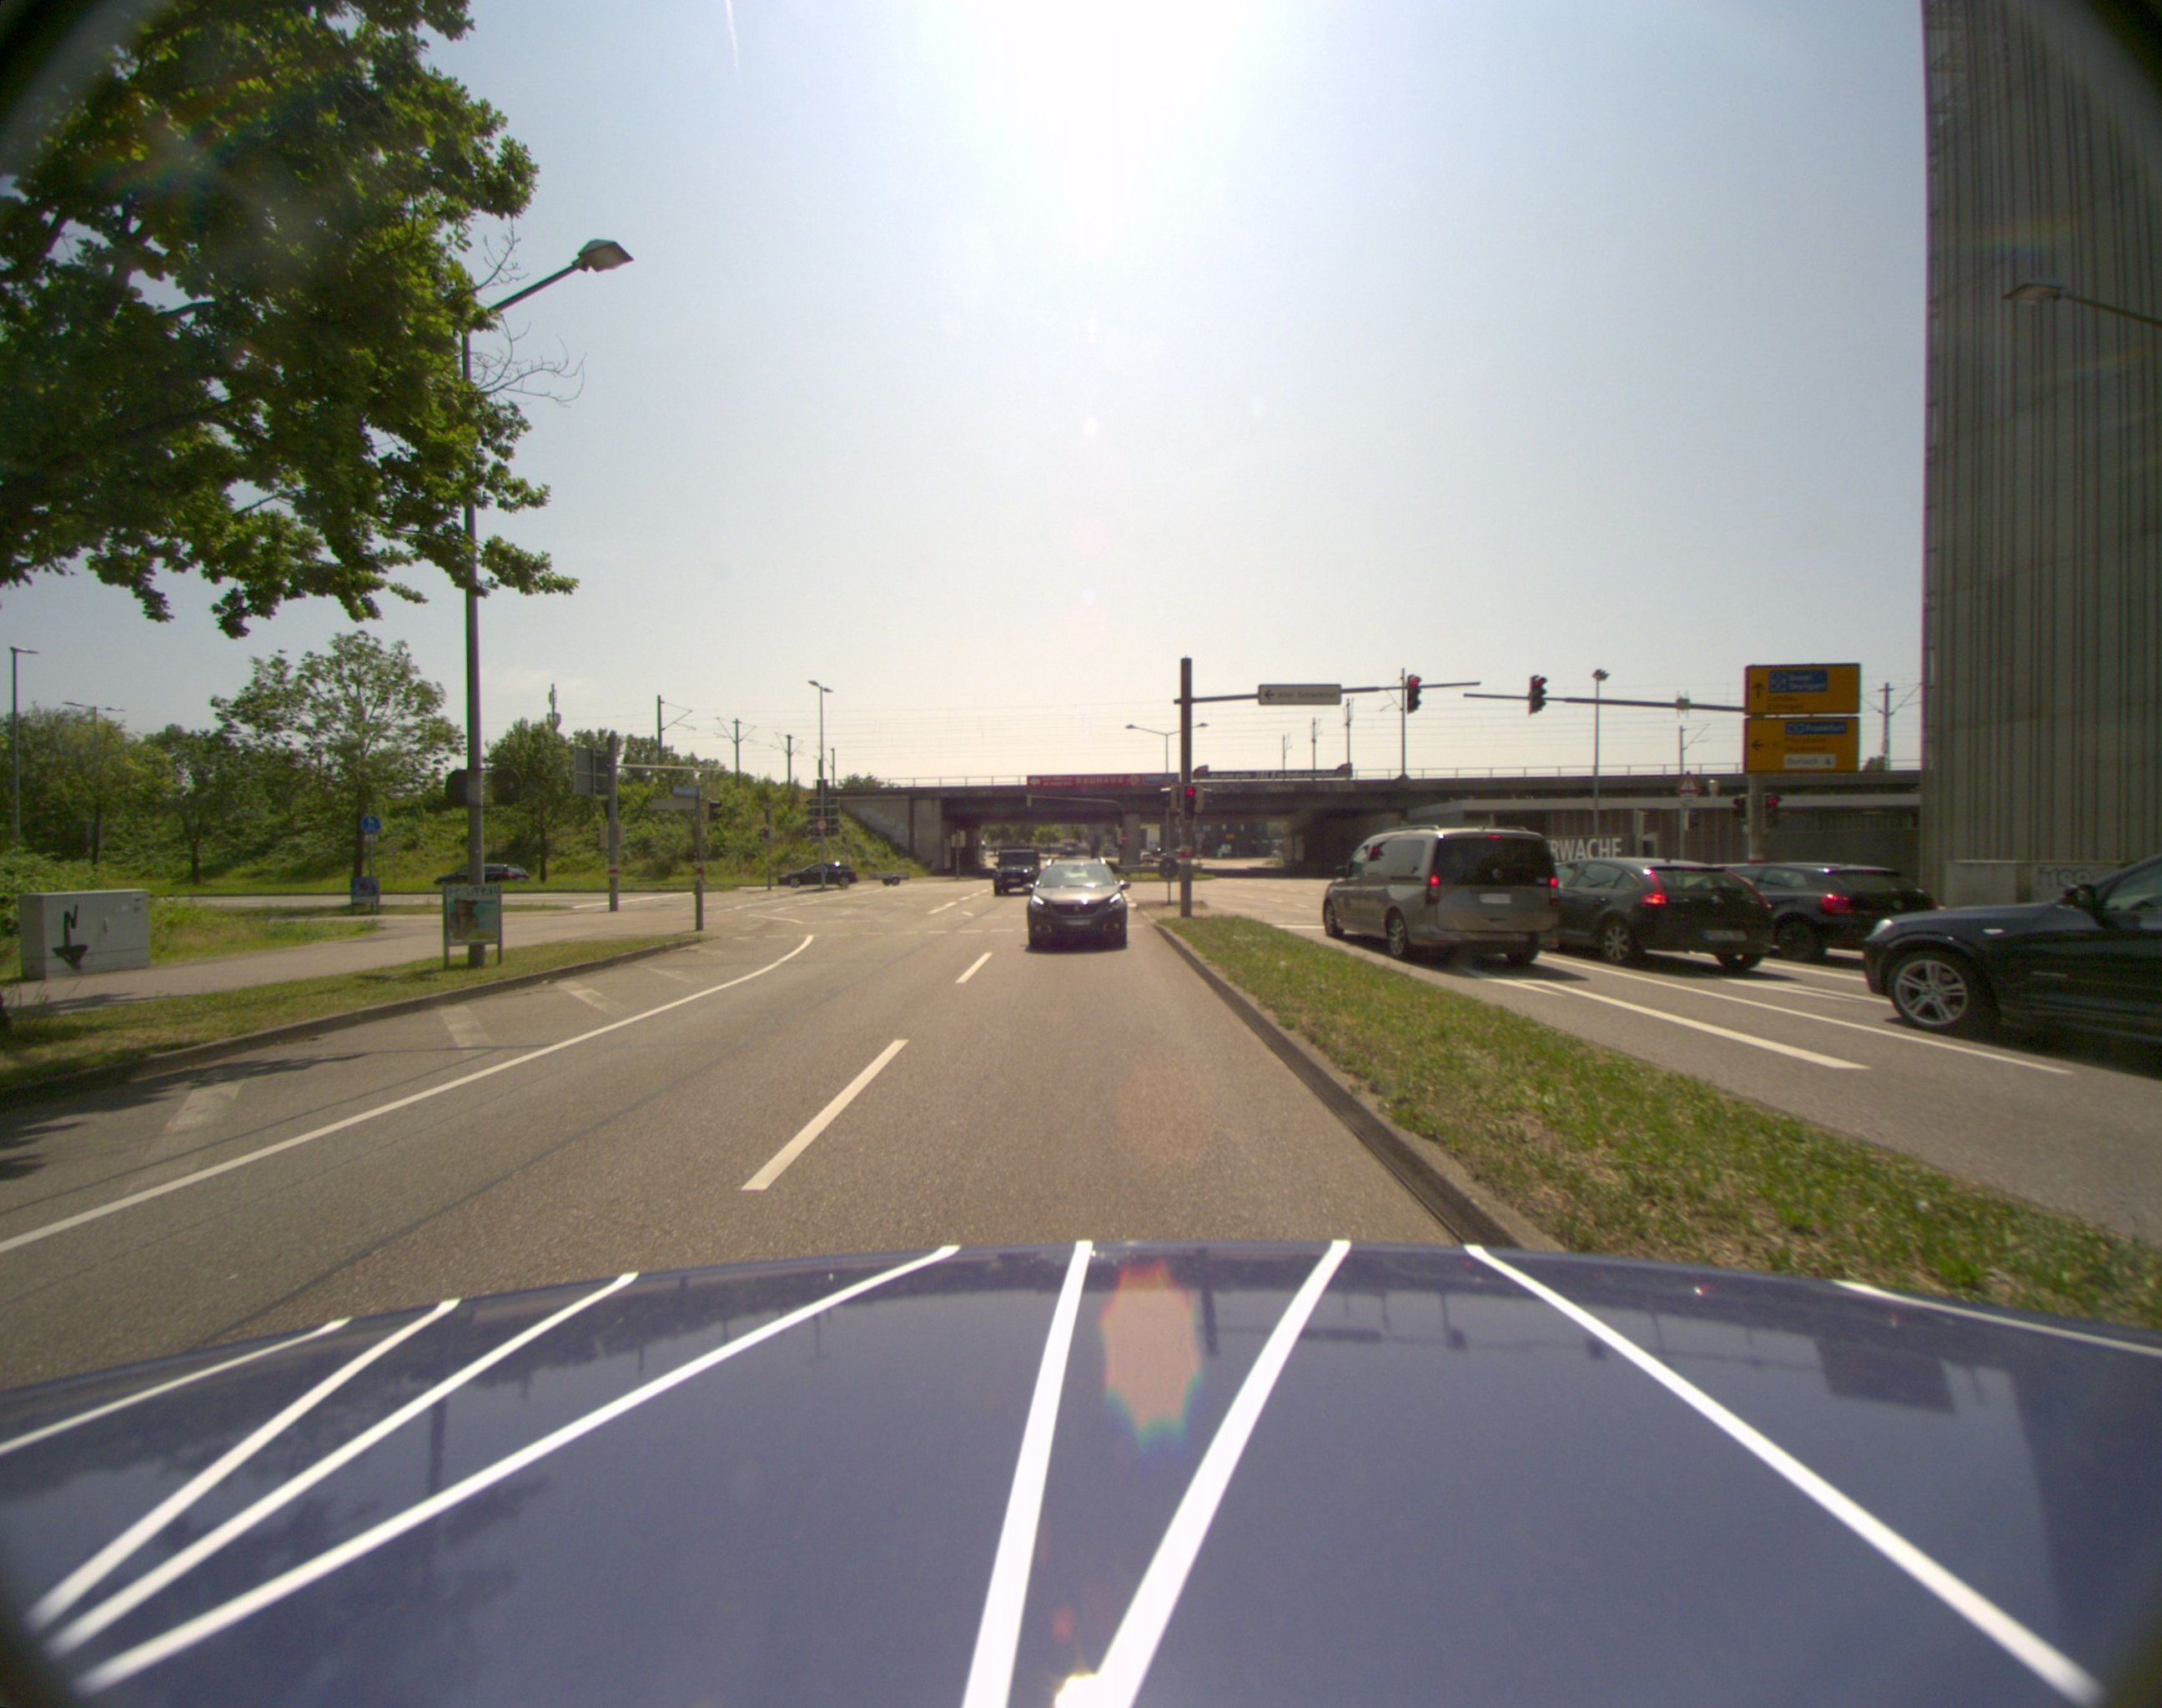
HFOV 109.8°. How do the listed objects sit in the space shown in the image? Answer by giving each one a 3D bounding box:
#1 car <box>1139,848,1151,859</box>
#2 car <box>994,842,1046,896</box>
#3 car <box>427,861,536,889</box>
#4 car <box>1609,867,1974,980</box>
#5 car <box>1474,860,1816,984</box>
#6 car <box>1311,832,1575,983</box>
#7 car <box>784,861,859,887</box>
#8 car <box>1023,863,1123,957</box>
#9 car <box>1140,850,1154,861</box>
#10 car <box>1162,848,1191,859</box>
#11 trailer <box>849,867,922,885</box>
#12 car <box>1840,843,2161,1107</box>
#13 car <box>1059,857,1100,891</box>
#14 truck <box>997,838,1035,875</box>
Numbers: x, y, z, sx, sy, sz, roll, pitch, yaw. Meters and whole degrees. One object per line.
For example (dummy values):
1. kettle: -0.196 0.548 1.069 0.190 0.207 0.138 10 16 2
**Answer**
1. car: 9.743 -0.065 115.653 1.709 1.535 3.375 0 1 9
2. car: -2.587 0.594 32.988 1.841 2.141 4.557 -1 1 0
3. car: -33.618 1.148 42.699 4.669 1.494 1.810 -1 0 1
4. car: 10.885 0.959 12.185 1.815 1.409 4.250 0 0 -1
5. car: 7.876 0.836 11.247 1.815 1.437 4.250 1 0 -1
6. car: 5.086 0.650 11.546 1.815 1.790 4.714 1 0 1
7. car: -14.888 1.097 43.521 3.908 1.382 1.806 -1 0 -24
8. car: -0.015 0.942 14.663 1.619 1.502 4.459 -1 0 3
9. car: 8.813 0.183 101.556 1.710 1.442 3.373 -1 0 1
10. car: 14.468 -0.039 115.065 3.991 1.674 2.003 0 0 18
11. trailer: -11.667 1.307 45.385 3.840 0.936 1.677 -1 0 -35
12. car: 7.688 0.767 4.510 1.807 1.653 4.573 1 0 1
13. car: -0.122 0.906 36.188 1.817 1.456 3.999 -1 0 -2
14. truck: -5.484 0.176 65.129 2.886 2.899 8.514 -2 0 -3
